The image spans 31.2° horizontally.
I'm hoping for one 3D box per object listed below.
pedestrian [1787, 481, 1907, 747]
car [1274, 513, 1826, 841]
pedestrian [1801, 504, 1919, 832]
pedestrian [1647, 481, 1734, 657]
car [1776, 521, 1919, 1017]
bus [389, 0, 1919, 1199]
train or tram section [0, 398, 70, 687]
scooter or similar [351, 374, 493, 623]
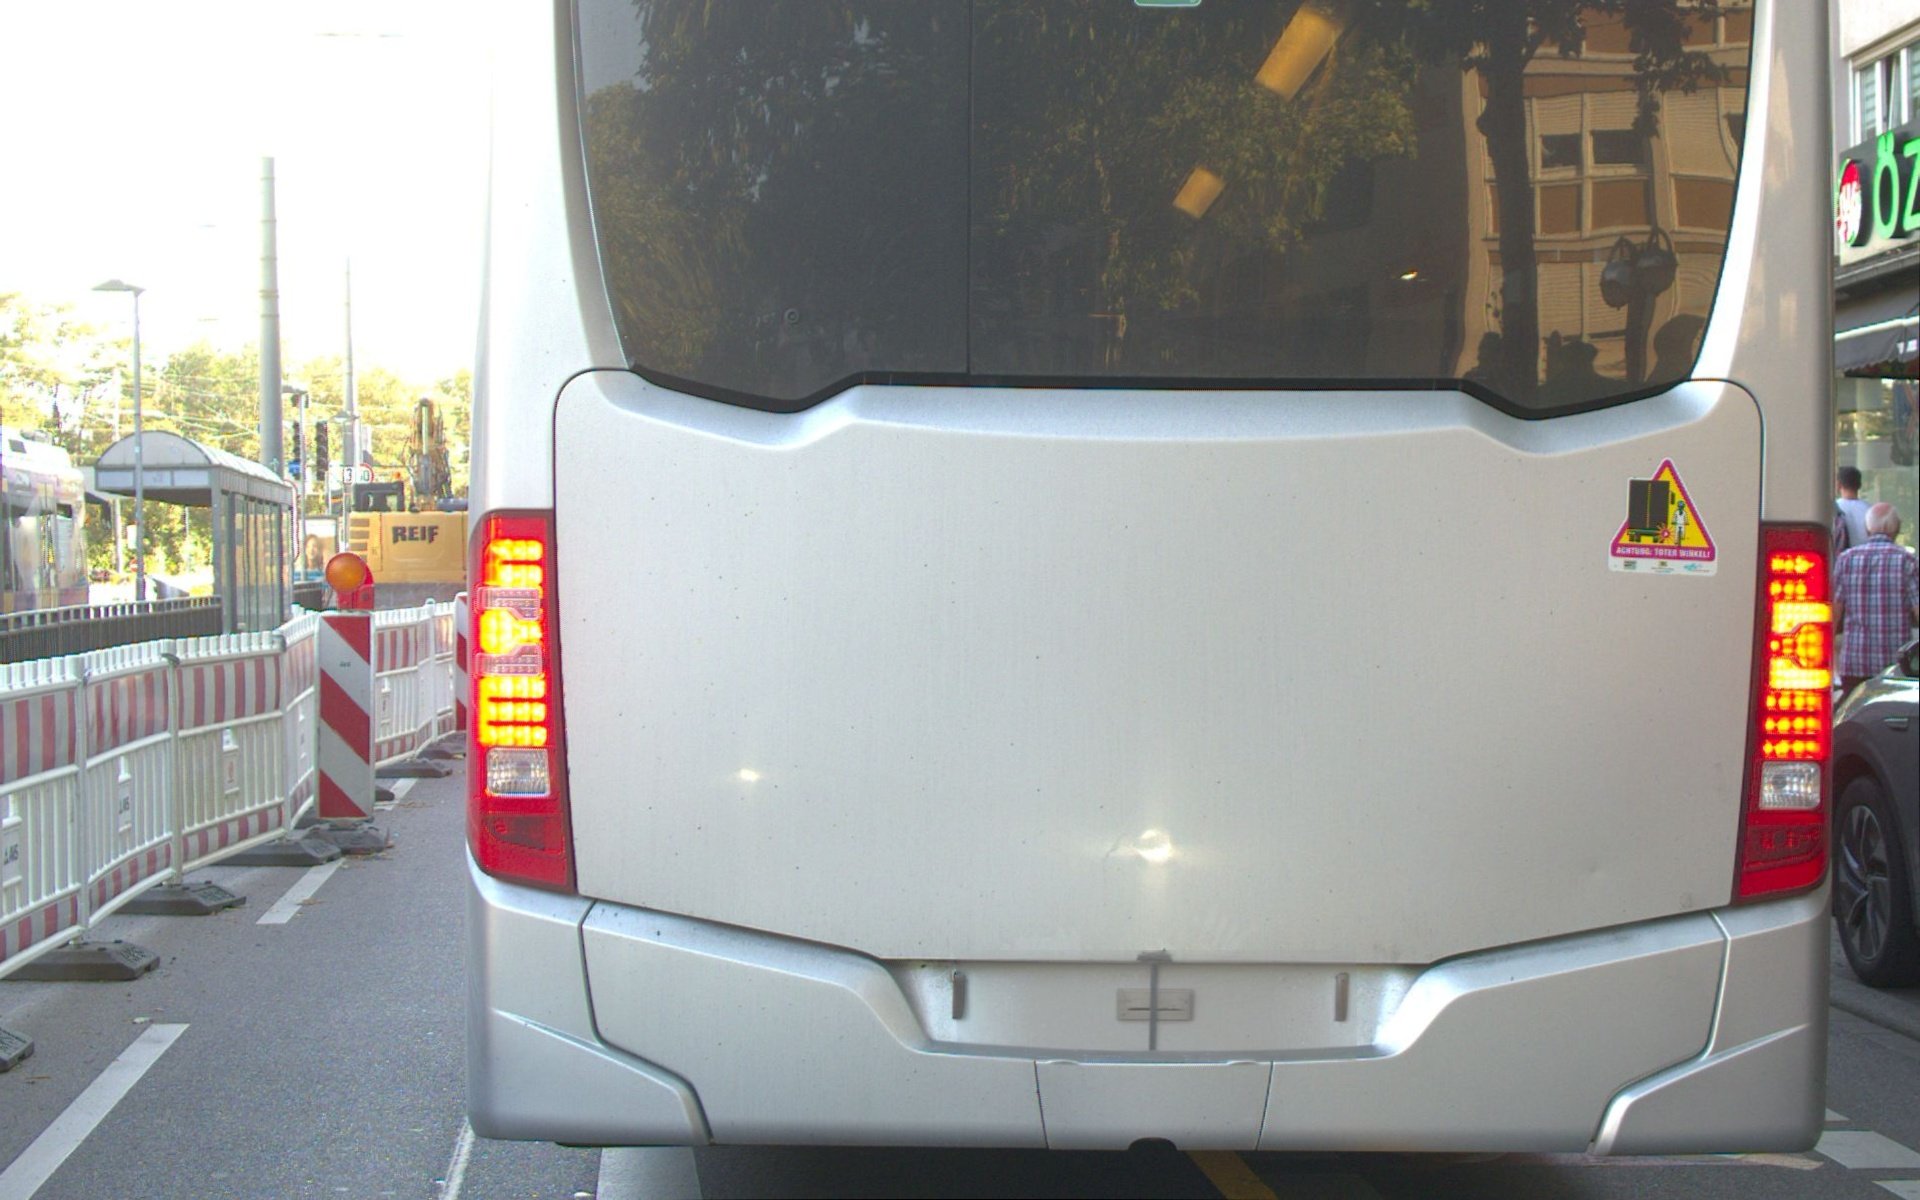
[{"bbox_3d":[6.806,0.100,26.407,0.685,2.007,0.786,-1,1,-1],"label":"pedestrian"},{"bbox_3d":[3.213,0.345,19.691,1.993,1.576,4.369,-3,1,-5],"label":"car"},{"bbox_3d":[4.757,0.346,17.874,0.664,1.661,0.600,-2,0,16],"label":"pedestrian"},{"bbox_3d":[7.678,-0.327,36.165,0.685,1.830,0.786,-1,1,-3],"label":"pedestrian"},{"bbox_3d":[4.129,0.525,10.155,1.993,1.576,4.369,-3,1,-5],"label":"car"},{"bbox_3d":[0.307,-0.227,9.874,2.611,3.115,7.993,1,1,-1],"label":"bus"},{"bbox_3d":[-13.271,-0.732,43.303,2.686,3.521,11.585,1,1,-8],"label":"train or tram section"},{"bbox_3d":[-10.071,-1.860,64.779,2.468,4.455,5.974,-1,1,-8],"label":"scooter or similar"}]
